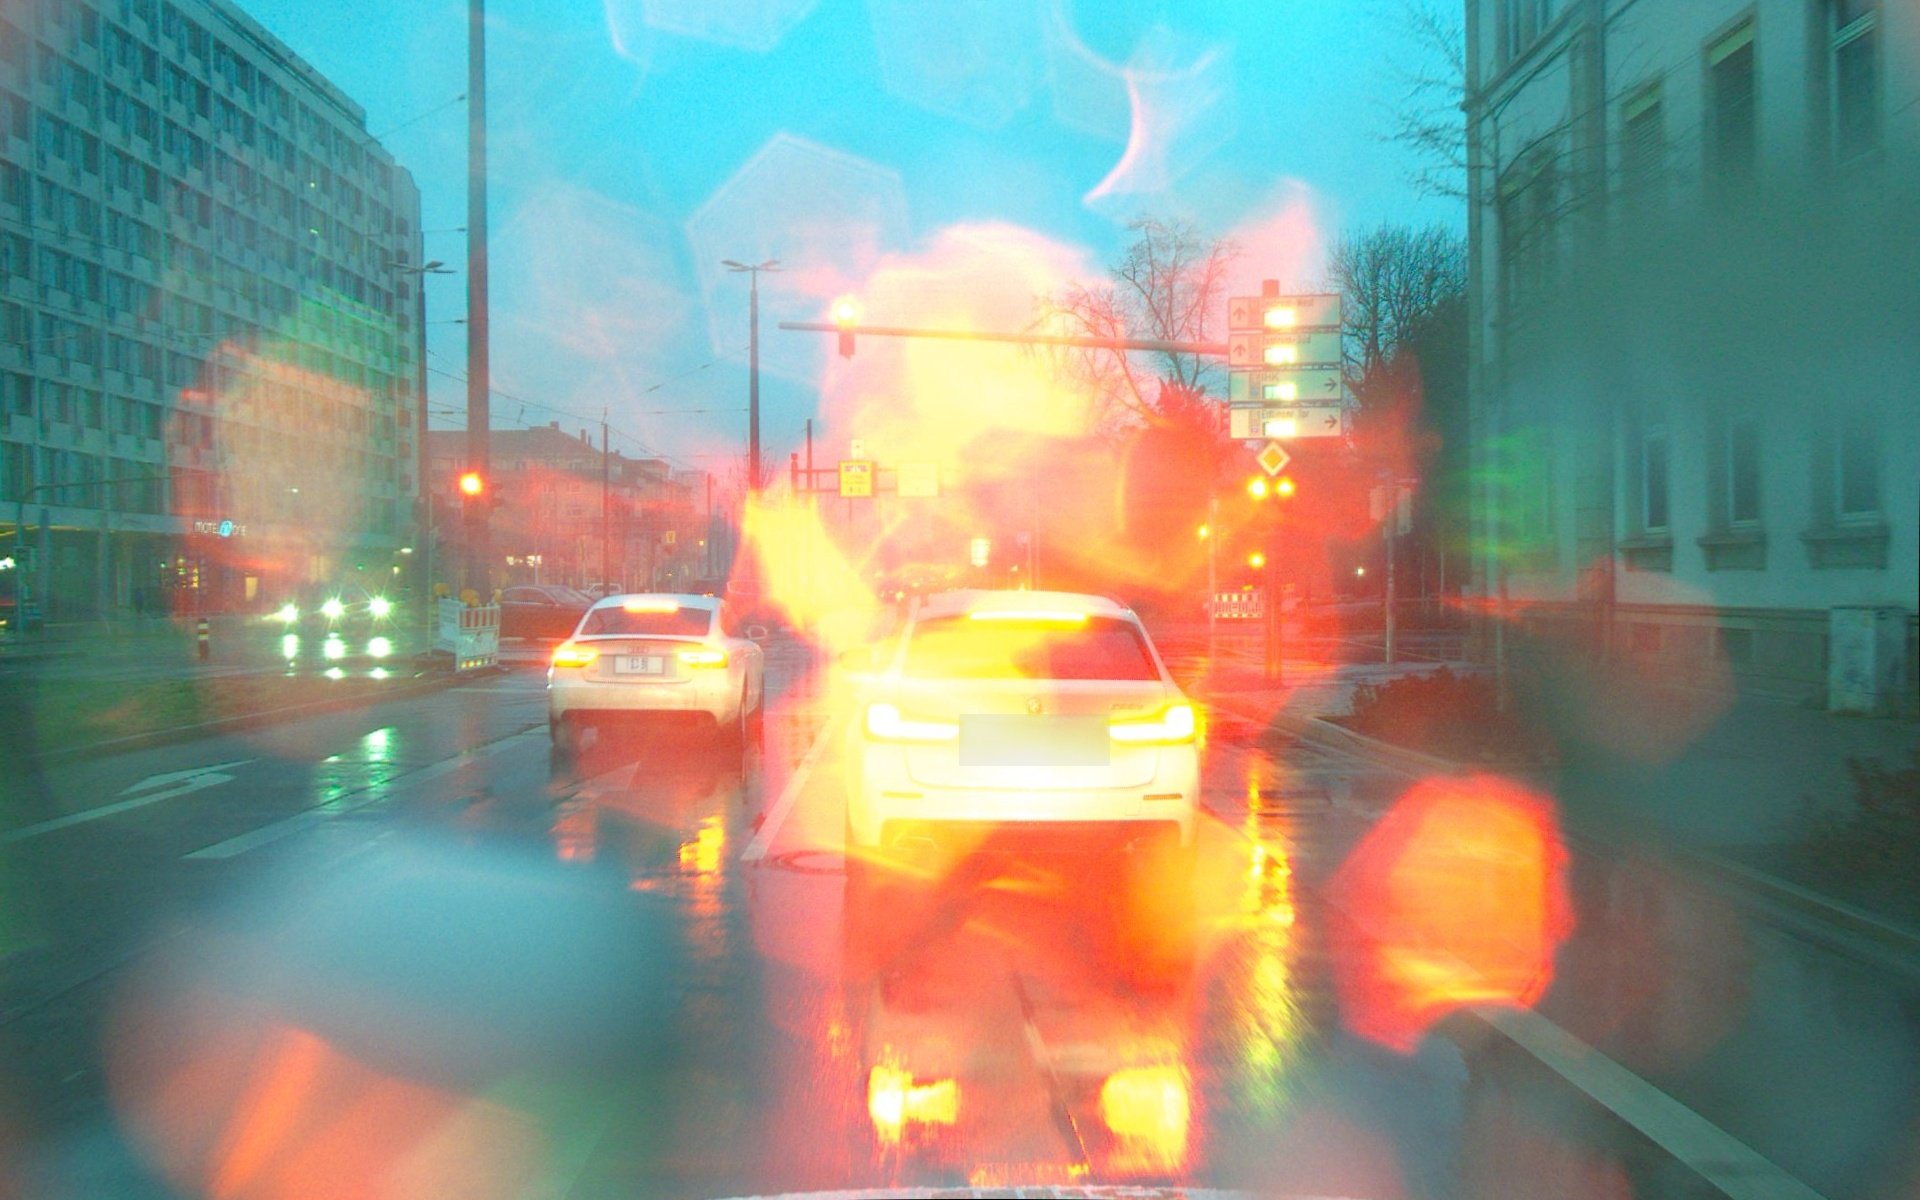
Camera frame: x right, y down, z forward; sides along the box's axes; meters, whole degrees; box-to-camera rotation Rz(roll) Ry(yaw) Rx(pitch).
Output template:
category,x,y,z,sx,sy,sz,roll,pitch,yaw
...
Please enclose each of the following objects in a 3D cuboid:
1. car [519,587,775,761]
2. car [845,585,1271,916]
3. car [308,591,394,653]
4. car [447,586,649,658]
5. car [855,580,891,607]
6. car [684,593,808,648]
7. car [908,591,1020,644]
category,x,y,z,sx,sy,sz,roll,pitch,yaw
car,-2.958,0.626,16.561,1.954,1.481,4.366,0,1,-3
car,0.338,0.659,9.716,1.954,1.481,4.366,0,1,-3
car,-18.085,0.631,48.995,1.872,1.750,4.670,1,-1,-27
car,-10.424,0.554,41.922,4.595,1.750,1.870,0,-1,13
car,-4.880,-0.372,92.413,1.954,1.481,4.366,0,1,-3
car,-6.602,0.632,51.358,1.808,1.637,3.937,1,0,29
car,0.083,0.538,52.564,1.824,1.637,3.903,1,0,-31
